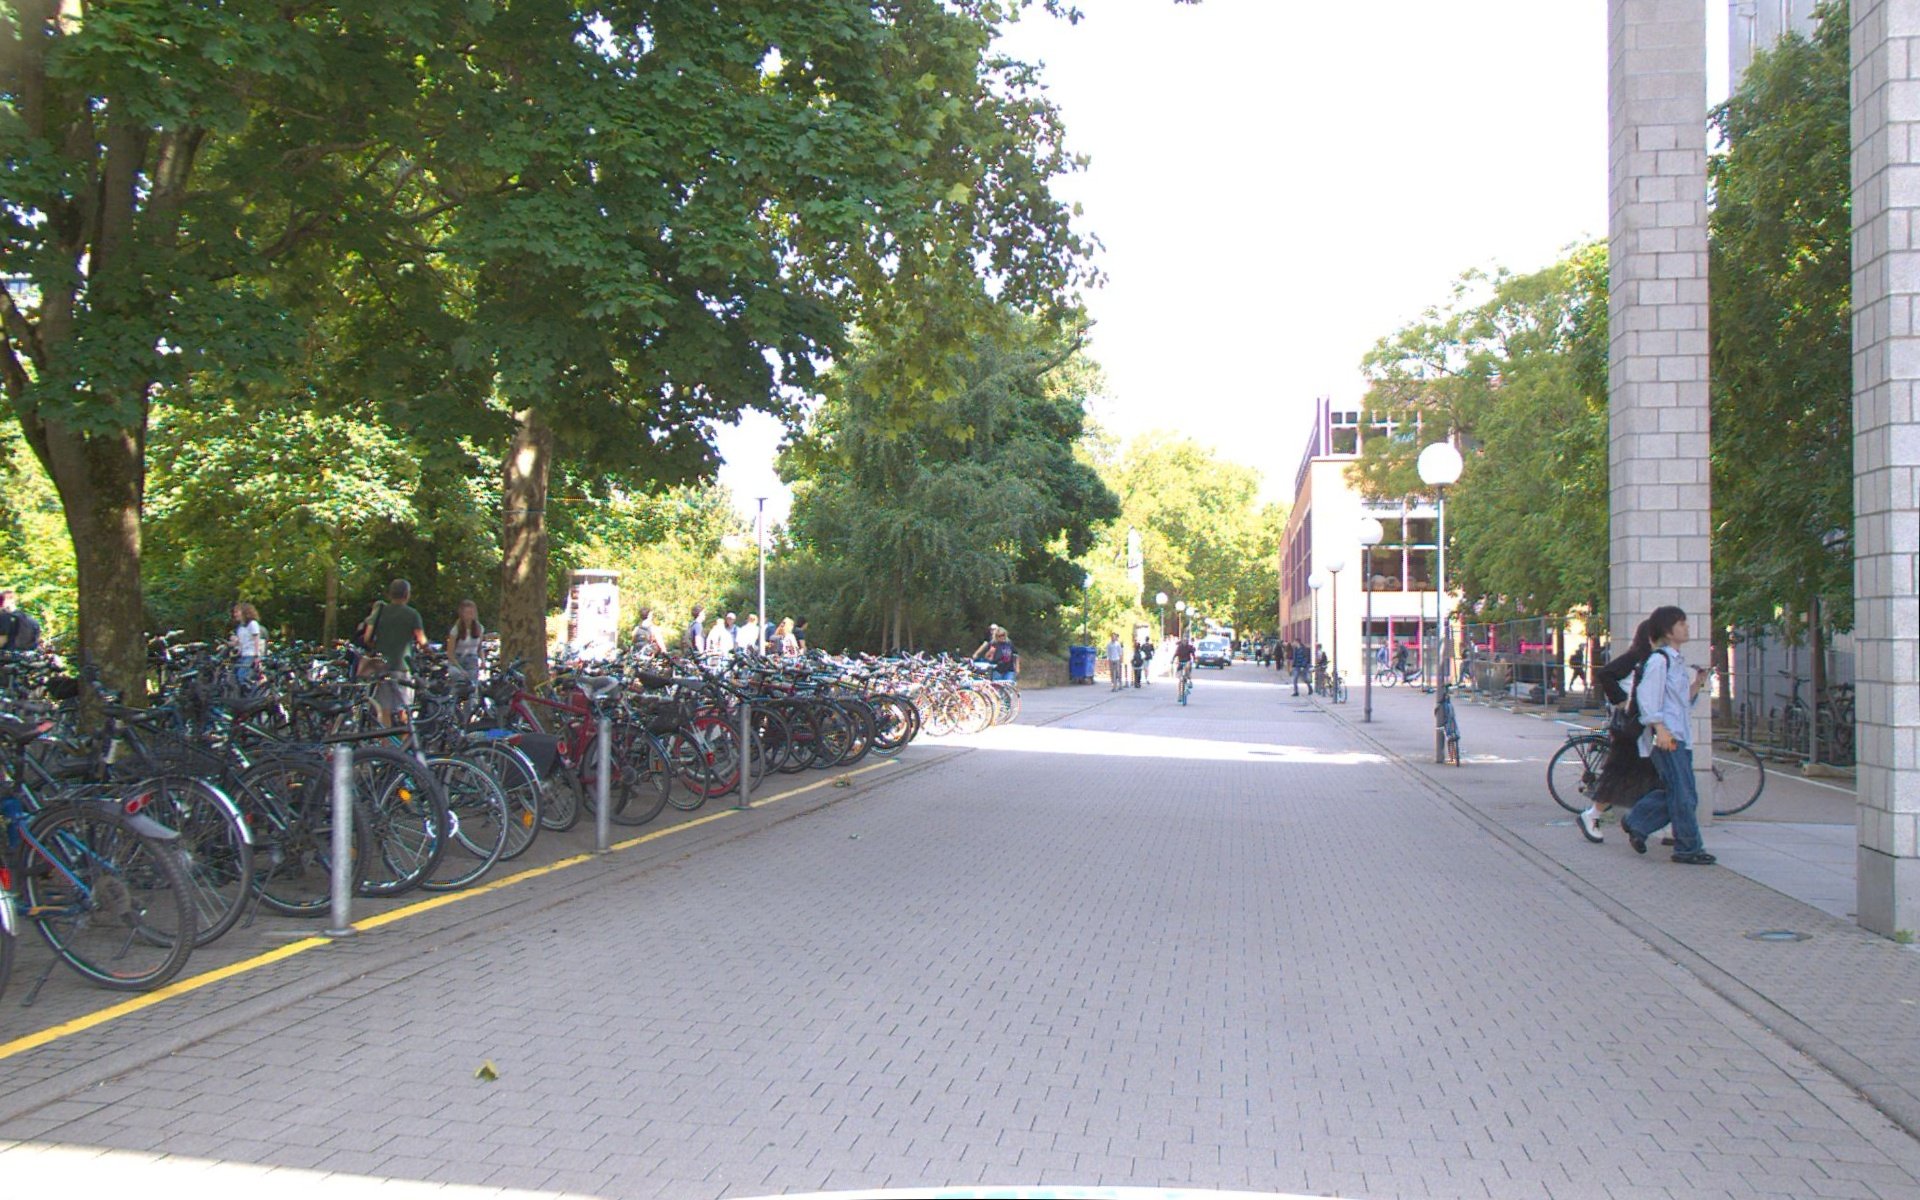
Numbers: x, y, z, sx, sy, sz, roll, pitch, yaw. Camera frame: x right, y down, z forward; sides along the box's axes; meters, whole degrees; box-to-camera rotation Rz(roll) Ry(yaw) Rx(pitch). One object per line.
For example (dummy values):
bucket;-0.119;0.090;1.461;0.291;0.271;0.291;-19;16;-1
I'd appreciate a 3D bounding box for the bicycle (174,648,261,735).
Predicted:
bicycle;-9.911;1.201;22.058;0.471;1.102;1.671;2;-2;-45

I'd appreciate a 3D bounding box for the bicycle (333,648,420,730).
bicycle;-8.252;1.238;23.358;0.471;1.102;1.671;2;-2;-45

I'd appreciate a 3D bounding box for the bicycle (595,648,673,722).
bicycle;-5.151;1.328;26.075;0.469;1.102;1.676;2;-2;-39

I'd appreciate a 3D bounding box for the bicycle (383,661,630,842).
bicycle;-3.072;0.994;11.186;1.591;1.127;0.562;0;-2;23

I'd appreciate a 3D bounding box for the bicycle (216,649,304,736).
bicycle;-9.417;1.228;22.220;0.471;1.102;1.671;2;-2;-45

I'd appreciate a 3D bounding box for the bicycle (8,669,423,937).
bicycle;-3.383;0.901;7.592;1.590;1.127;0.645;1;-2;4

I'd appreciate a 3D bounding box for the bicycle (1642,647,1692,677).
bicycle;27.837;2.436;65.127;1.768;1.130;0.474;1;-1;4

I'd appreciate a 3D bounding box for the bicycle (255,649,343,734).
bicycle;-9.043;1.231;22.599;0.471;1.102;1.671;2;-2;-45

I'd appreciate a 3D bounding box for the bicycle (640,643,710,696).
bicycle;-6.268;1.519;36.385;1.744;1.130;0.472;0;-2;39

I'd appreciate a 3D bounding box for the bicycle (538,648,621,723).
bicycle;-5.875;1.299;25.496;0.470;1.102;1.673;2;-2;-42

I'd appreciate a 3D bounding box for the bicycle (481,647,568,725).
bicycle;-6.520;1.272;24.718;0.471;1.102;1.671;2;-2;-45

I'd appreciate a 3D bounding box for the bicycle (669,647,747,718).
bicycle;-4.121;1.331;26.923;0.469;1.102;1.676;2;-2;-39

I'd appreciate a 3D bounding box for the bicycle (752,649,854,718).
bicycle;-2.612;1.379;27.494;1.660;1.102;0.474;0;-2;26

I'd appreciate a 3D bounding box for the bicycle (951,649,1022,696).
bicycle;0.657;1.771;40.445;1.826;1.130;0.467;2;-2;-38

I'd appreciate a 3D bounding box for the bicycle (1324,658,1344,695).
bicycle;10.170;2.081;44.987;0.387;0.952;1.733;-2;-2;9

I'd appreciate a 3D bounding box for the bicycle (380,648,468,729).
bicycle;-7.707;1.248;23.738;0.471;1.102;1.671;2;-2;-45

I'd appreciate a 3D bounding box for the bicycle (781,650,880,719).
bicycle;-2.230;1.442;28.452;1.659;1.130;0.474;0;-2;22

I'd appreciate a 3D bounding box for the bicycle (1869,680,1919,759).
bicycle;11.958;1.494;20.888;0.284;0.921;1.449;0;-1;6

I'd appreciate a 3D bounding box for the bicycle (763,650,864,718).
bicycle;-2.479;1.404;27.969;1.684;1.102;0.474;0;-2;24

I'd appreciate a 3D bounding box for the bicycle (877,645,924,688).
bicycle;-1.595;1.767;44.031;0.468;1.065;1.682;3;-1;-31

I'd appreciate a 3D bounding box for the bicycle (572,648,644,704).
bicycle;-7.424;1.587;34.815;1.744;1.130;0.472;0;-2;39

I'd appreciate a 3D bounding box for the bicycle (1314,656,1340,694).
bicycle;11.285;2.303;50.889;0.693;1.112;1.750;0;-1;9

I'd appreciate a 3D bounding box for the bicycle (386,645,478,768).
bicycle;-5.609;1.102;17.526;0.568;1.221;1.682;2;-2;-30

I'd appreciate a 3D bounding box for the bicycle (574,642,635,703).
bicycle;-6.910;1.396;32.072;0.469;1.130;1.755;2;-2;-36

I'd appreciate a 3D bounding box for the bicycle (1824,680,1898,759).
bicycle;11.365;1.496;20.894;0.284;0.921;1.449;0;-1;6

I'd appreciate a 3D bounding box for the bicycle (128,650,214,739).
bicycle;-10.383;1.220;21.739;0.471;1.102;1.671;2;-2;-45

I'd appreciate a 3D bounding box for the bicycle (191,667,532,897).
bicycle;-3.126;0.935;8.696;1.590;1.127;0.497;1;-2;4

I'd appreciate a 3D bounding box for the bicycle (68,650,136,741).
bicycle;-11.066;1.210;21.316;0.469;1.102;1.676;2;-2;-37

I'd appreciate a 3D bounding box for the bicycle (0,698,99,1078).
bicycle;-3.643;0.879;5.329;1.590;1.127;0.497;0;-2;14

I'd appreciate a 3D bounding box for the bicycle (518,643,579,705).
bicycle;-7.855;1.390;31.521;0.469;1.130;1.755;2;-2;-36

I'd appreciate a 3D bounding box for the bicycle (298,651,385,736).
bicycle;-8.588;1.279;22.938;0.471;1.102;1.671;2;-2;-45

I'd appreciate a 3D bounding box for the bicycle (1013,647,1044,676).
bicycle;2.279;2.051;54.995;0.413;0.926;1.739;0;-3;24

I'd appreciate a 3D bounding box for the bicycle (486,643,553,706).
bicycle;-8.324;1.395;31.232;0.470;1.130;1.751;2;-2;-41

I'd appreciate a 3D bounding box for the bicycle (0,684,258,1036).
bicycle;-3.488;0.886;6.034;1.590;1.127;0.691;1;-2;14

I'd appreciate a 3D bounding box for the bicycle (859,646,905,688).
bicycle;-2.062;1.747;43.617;0.468;1.065;1.681;2;-2;-31

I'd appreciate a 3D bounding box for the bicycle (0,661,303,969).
bicycle;-3.605;0.851;6.850;1.590;1.171;0.497;1;-2;10

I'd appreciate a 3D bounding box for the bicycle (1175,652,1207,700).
bicycle;5.843;1.918;41.911;0.755;1.170;2.109;-1;-2;7

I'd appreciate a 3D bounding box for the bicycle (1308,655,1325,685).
bicycle;12.090;2.362;56.142;0.441;0.979;1.741;-2;-2;9

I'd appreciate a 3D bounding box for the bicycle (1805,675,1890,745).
bicycle;12.711;1.558;23.734;0.284;0.921;1.805;0;-1;1

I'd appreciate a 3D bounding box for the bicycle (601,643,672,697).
bicycle;-6.955;1.497;35.566;1.744;1.130;0.472;0;-2;39

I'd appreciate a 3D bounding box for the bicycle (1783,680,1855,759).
bicycle;10.833;1.495;20.887;0.284;0.921;1.449;0;-1;6

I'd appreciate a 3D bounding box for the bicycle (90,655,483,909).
bicycle;-3.327;0.881;8.228;1.742;1.182;0.497;1;-2;4

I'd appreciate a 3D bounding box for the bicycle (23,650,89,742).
bicycle;-11.512;1.205;21.045;0.469;1.102;1.676;2;-2;-37

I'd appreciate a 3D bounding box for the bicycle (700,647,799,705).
bicycle;-4.047;1.461;31.882;1.866;1.065;0.541;1;-2;-6

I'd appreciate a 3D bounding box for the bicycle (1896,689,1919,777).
bicycle;10.383;1.428;17.483;0.284;0.921;1.449;0;-1;6

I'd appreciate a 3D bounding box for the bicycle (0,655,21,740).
bicycle;-11.853;1.186;20.376;0.446;0.979;1.723;2;-2;-29

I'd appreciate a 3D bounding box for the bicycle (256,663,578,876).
bicycle;-3.170;0.950;9.677;1.685;1.127;0.719;0;-2;20

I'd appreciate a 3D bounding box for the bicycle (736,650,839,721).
bicycle;-2.818;1.383;27.032;1.660;1.102;0.474;0;-2;25

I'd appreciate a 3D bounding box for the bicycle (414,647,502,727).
bicycle;-7.314;1.255;24.049;0.471;1.102;1.671;2;-2;-45
